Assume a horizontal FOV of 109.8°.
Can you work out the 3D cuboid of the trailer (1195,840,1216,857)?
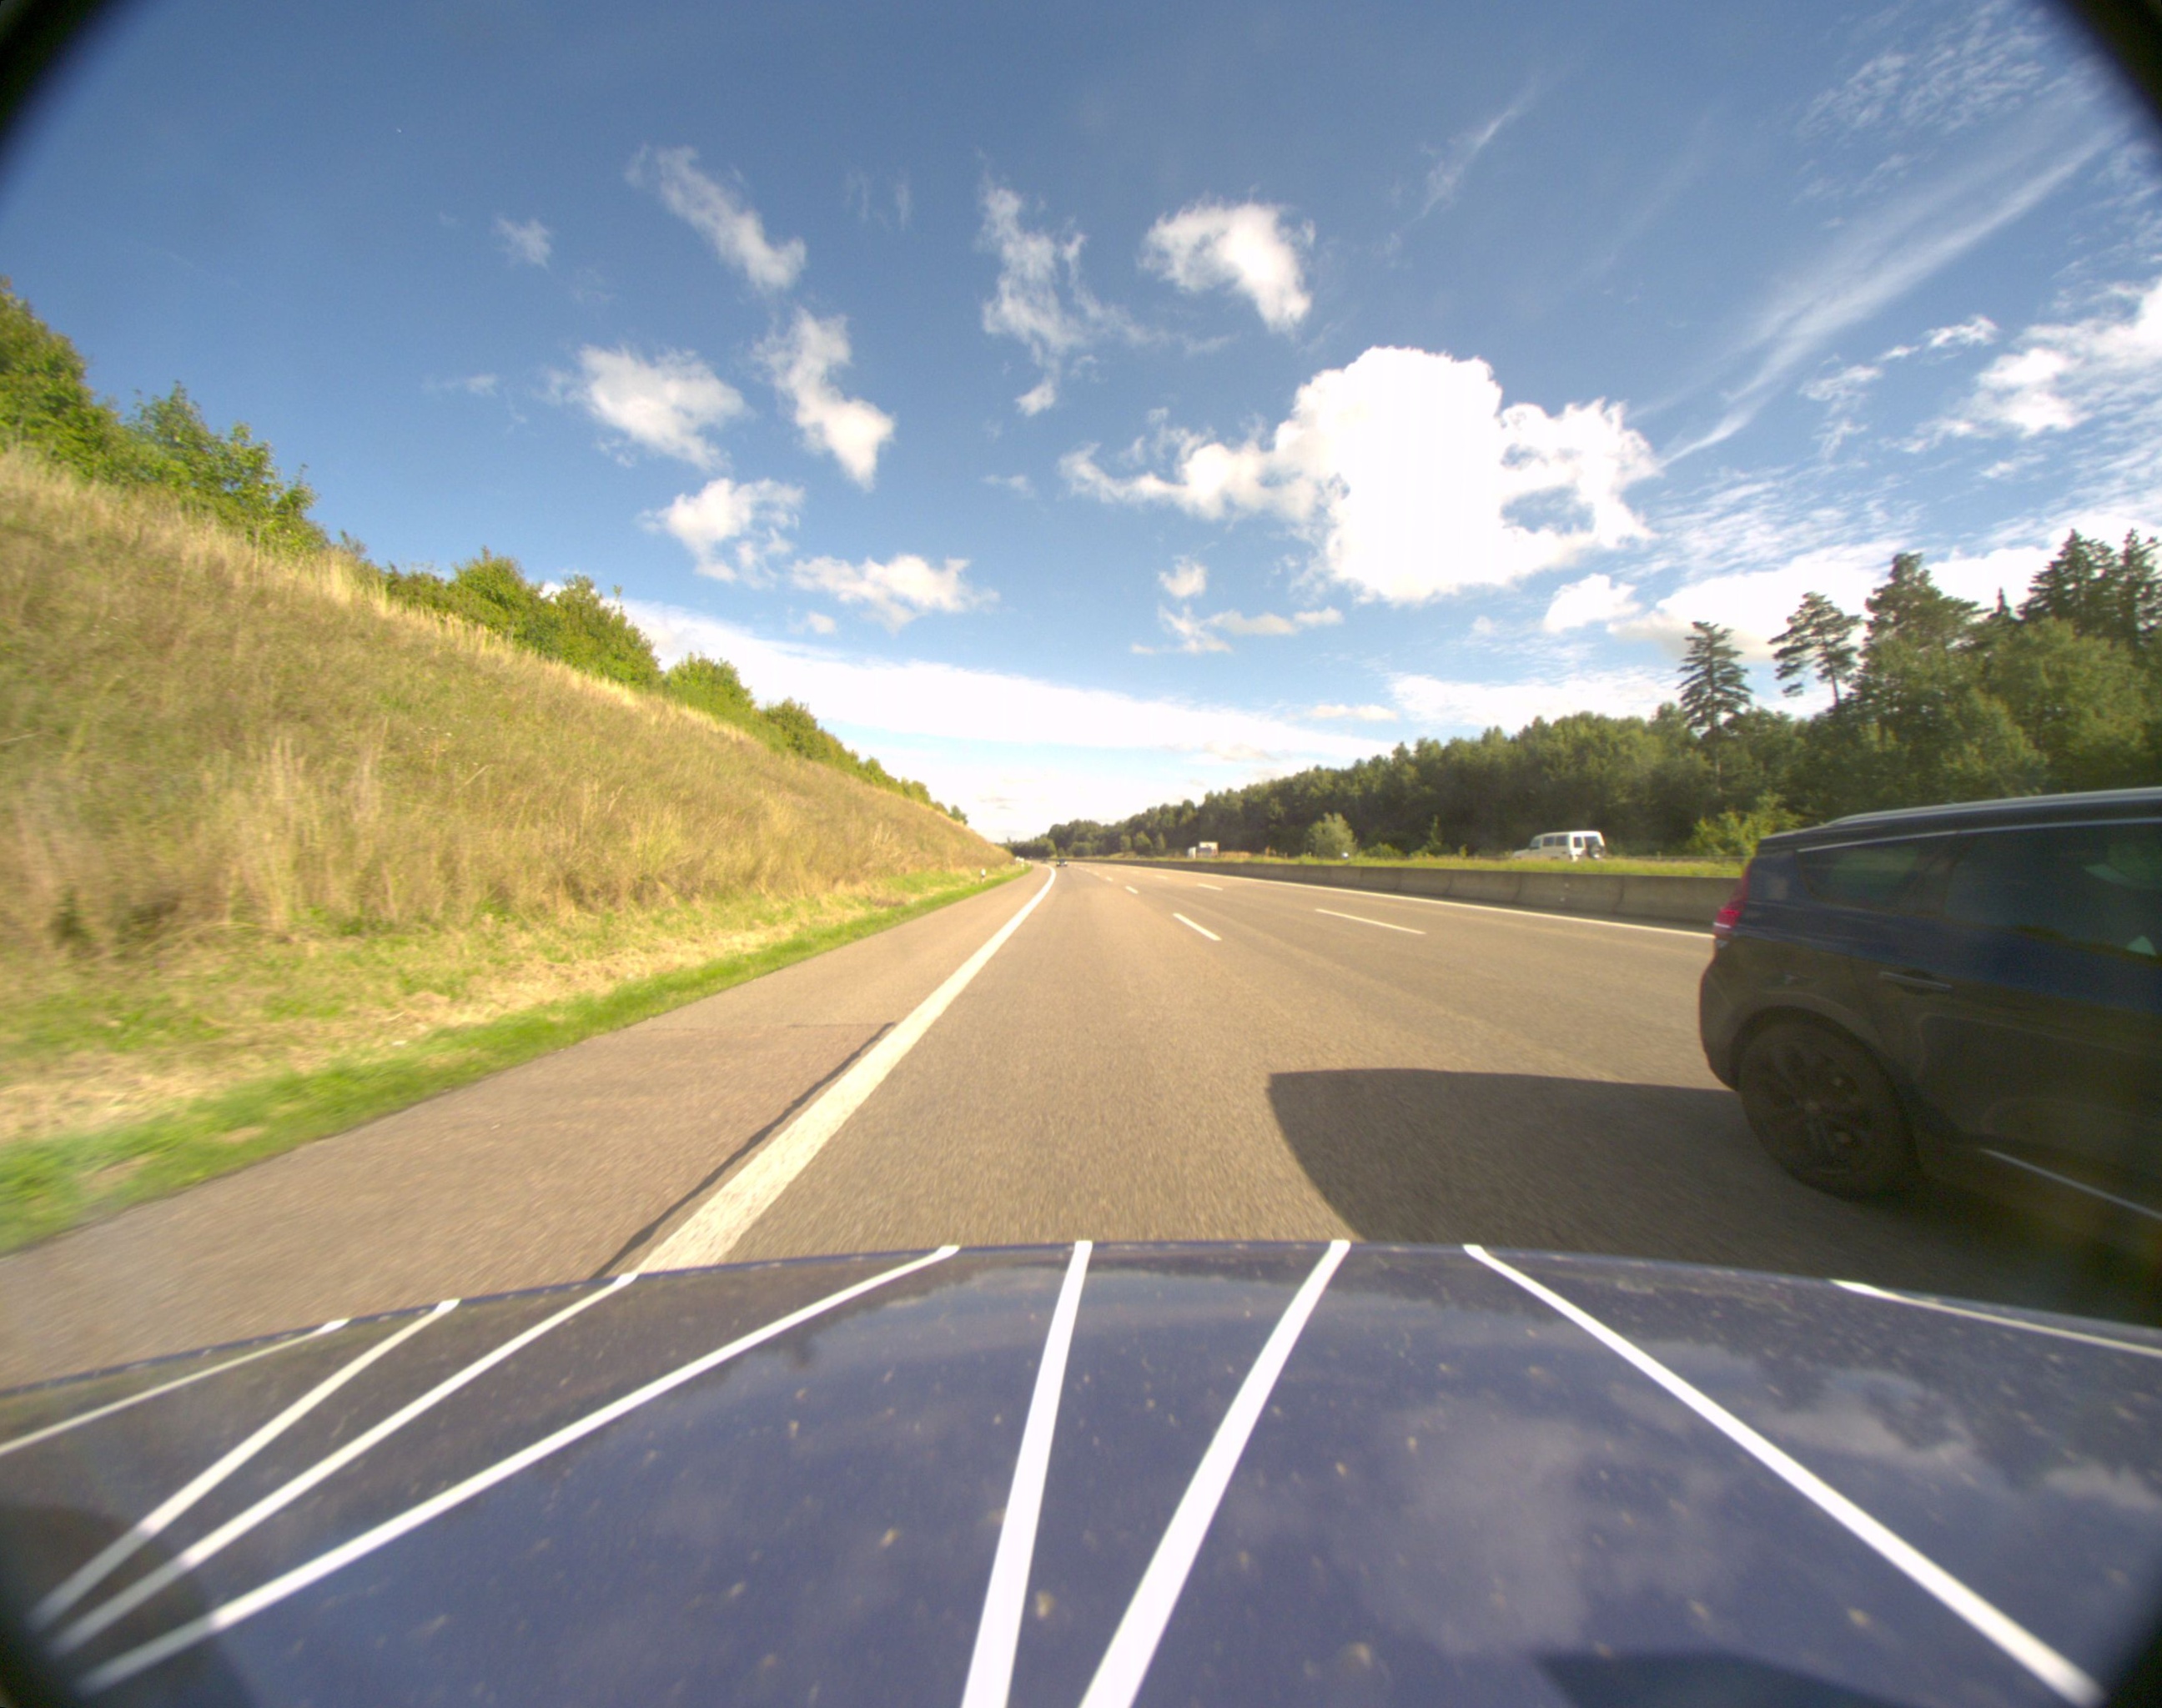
[{"bbox_3d":[20.304,-0.907,123.929,2.276,2.668,5.561,-2,0,-2],"label":"trailer"}]

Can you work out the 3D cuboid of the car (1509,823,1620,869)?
[{"bbox_3d":[23.479,-0.378,37.211,1.998,2.002,5.386,-2,0,0],"label":"car"}]

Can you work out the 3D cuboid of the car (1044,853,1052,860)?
[{"bbox_3d":[-9.352,0.681,214.532,2.000,2.002,3.997,-3,1,-7],"label":"car"}]

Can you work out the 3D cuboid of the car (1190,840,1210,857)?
[{"bbox_3d":[20.105,-0.920,128.627,2.276,2.668,5.887,-2,0,-2],"label":"car"}]

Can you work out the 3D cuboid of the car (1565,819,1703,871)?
[{"bbox_3d":[23.451,-0.365,32.552,1.998,2.002,5.386,-2,0,0],"label":"car"}]

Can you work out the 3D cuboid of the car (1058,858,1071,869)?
[{"bbox_3d":[-2.825,1.617,130.732,1.998,1.827,3.999,-2,1,1],"label":"car"}]

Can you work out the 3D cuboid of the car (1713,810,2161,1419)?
[{"bbox_3d":[3.992,0.704,1.325,1.998,1.697,4.529,-2,0,1],"label":"car"}]
